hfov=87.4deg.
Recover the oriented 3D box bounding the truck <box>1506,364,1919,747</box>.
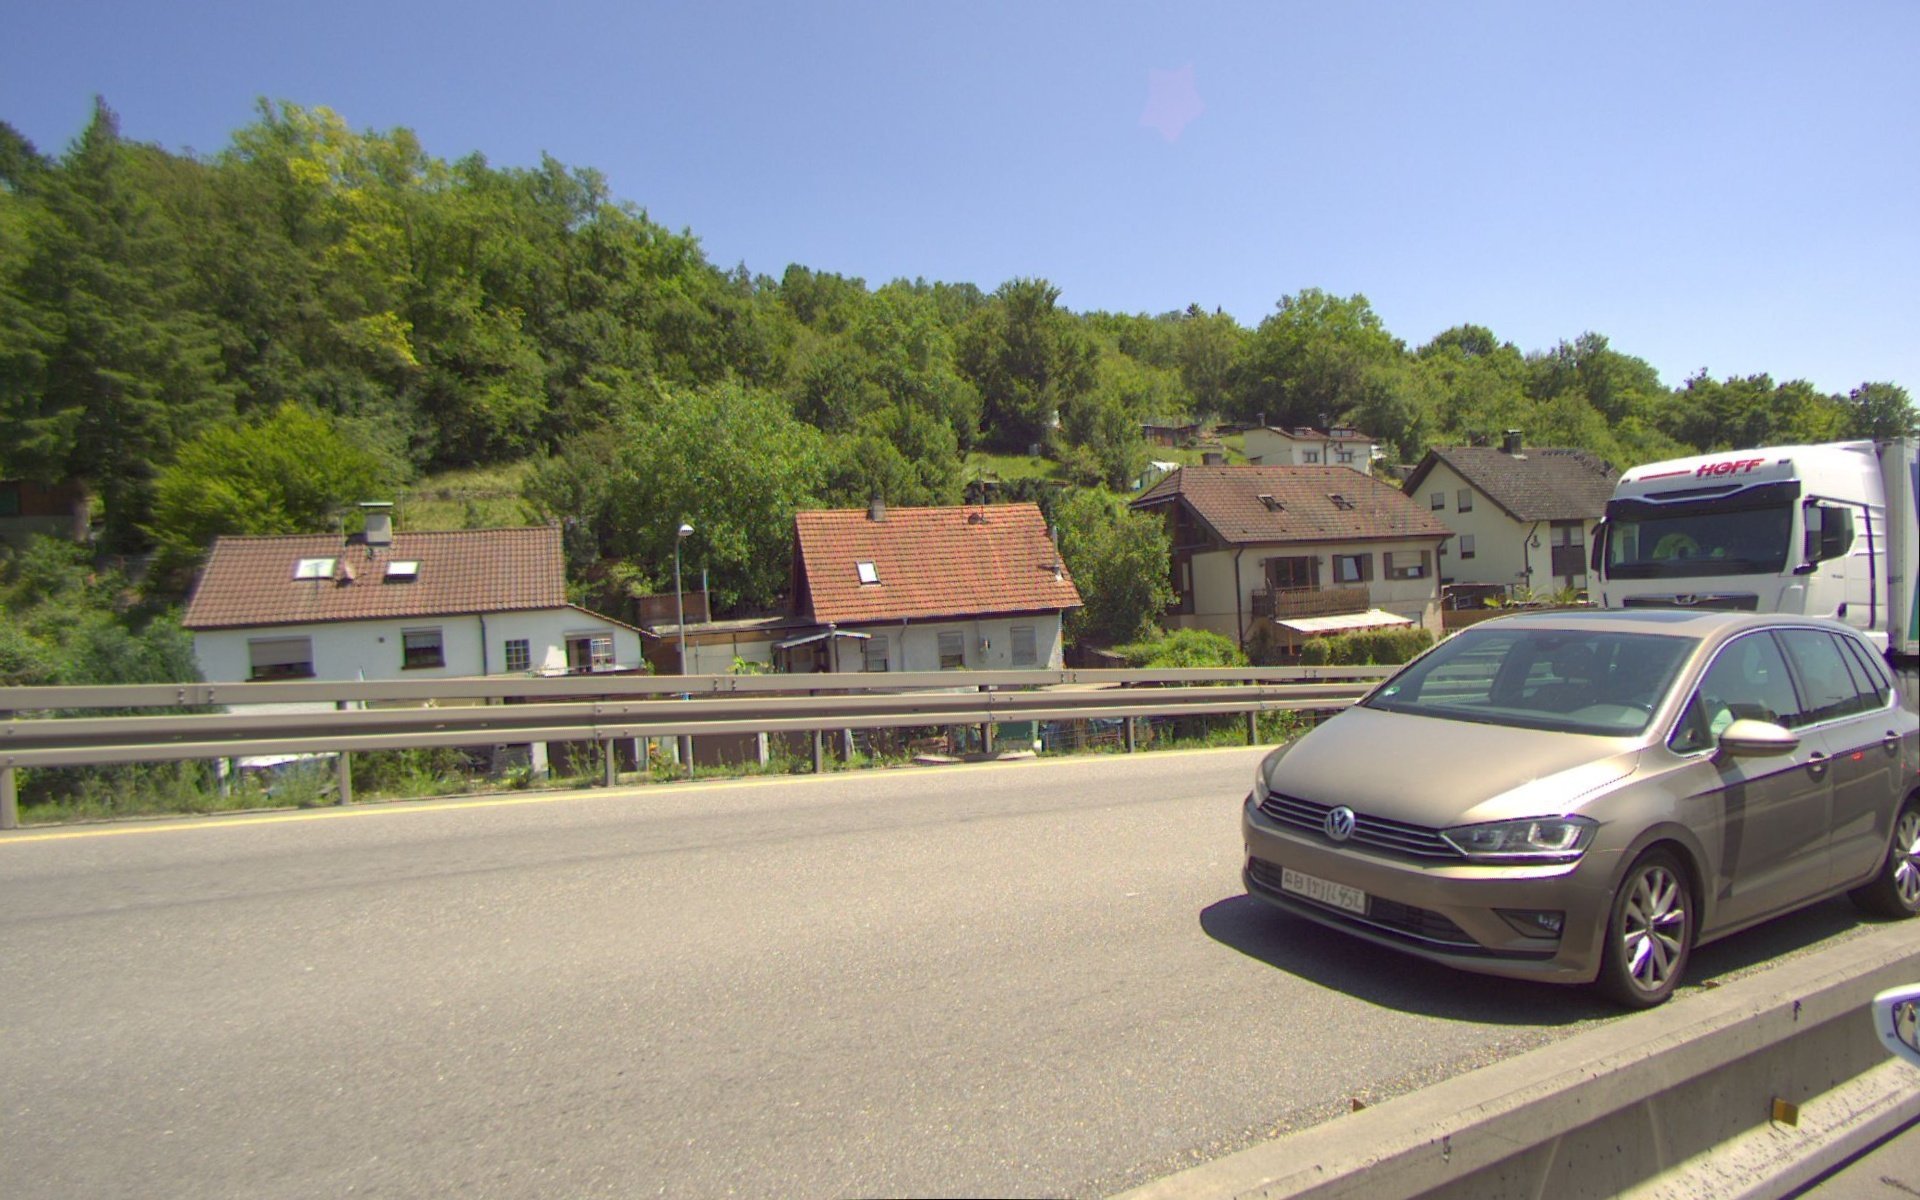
[{"bbox_3d":[12.302,-0.423,15.021,8.199,4.420,3.289,2,0,-29],"label":"truck"}]

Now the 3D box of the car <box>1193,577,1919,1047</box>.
[{"bbox_3d":[3.320,0.769,5.237,3.955,1.595,1.836,2,-1,-31],"label":"car"}]

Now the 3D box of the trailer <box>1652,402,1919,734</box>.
[{"bbox_3d":[18.077,-0.264,18.210,13.888,4.437,3.237,2,0,-29],"label":"trailer"}]
